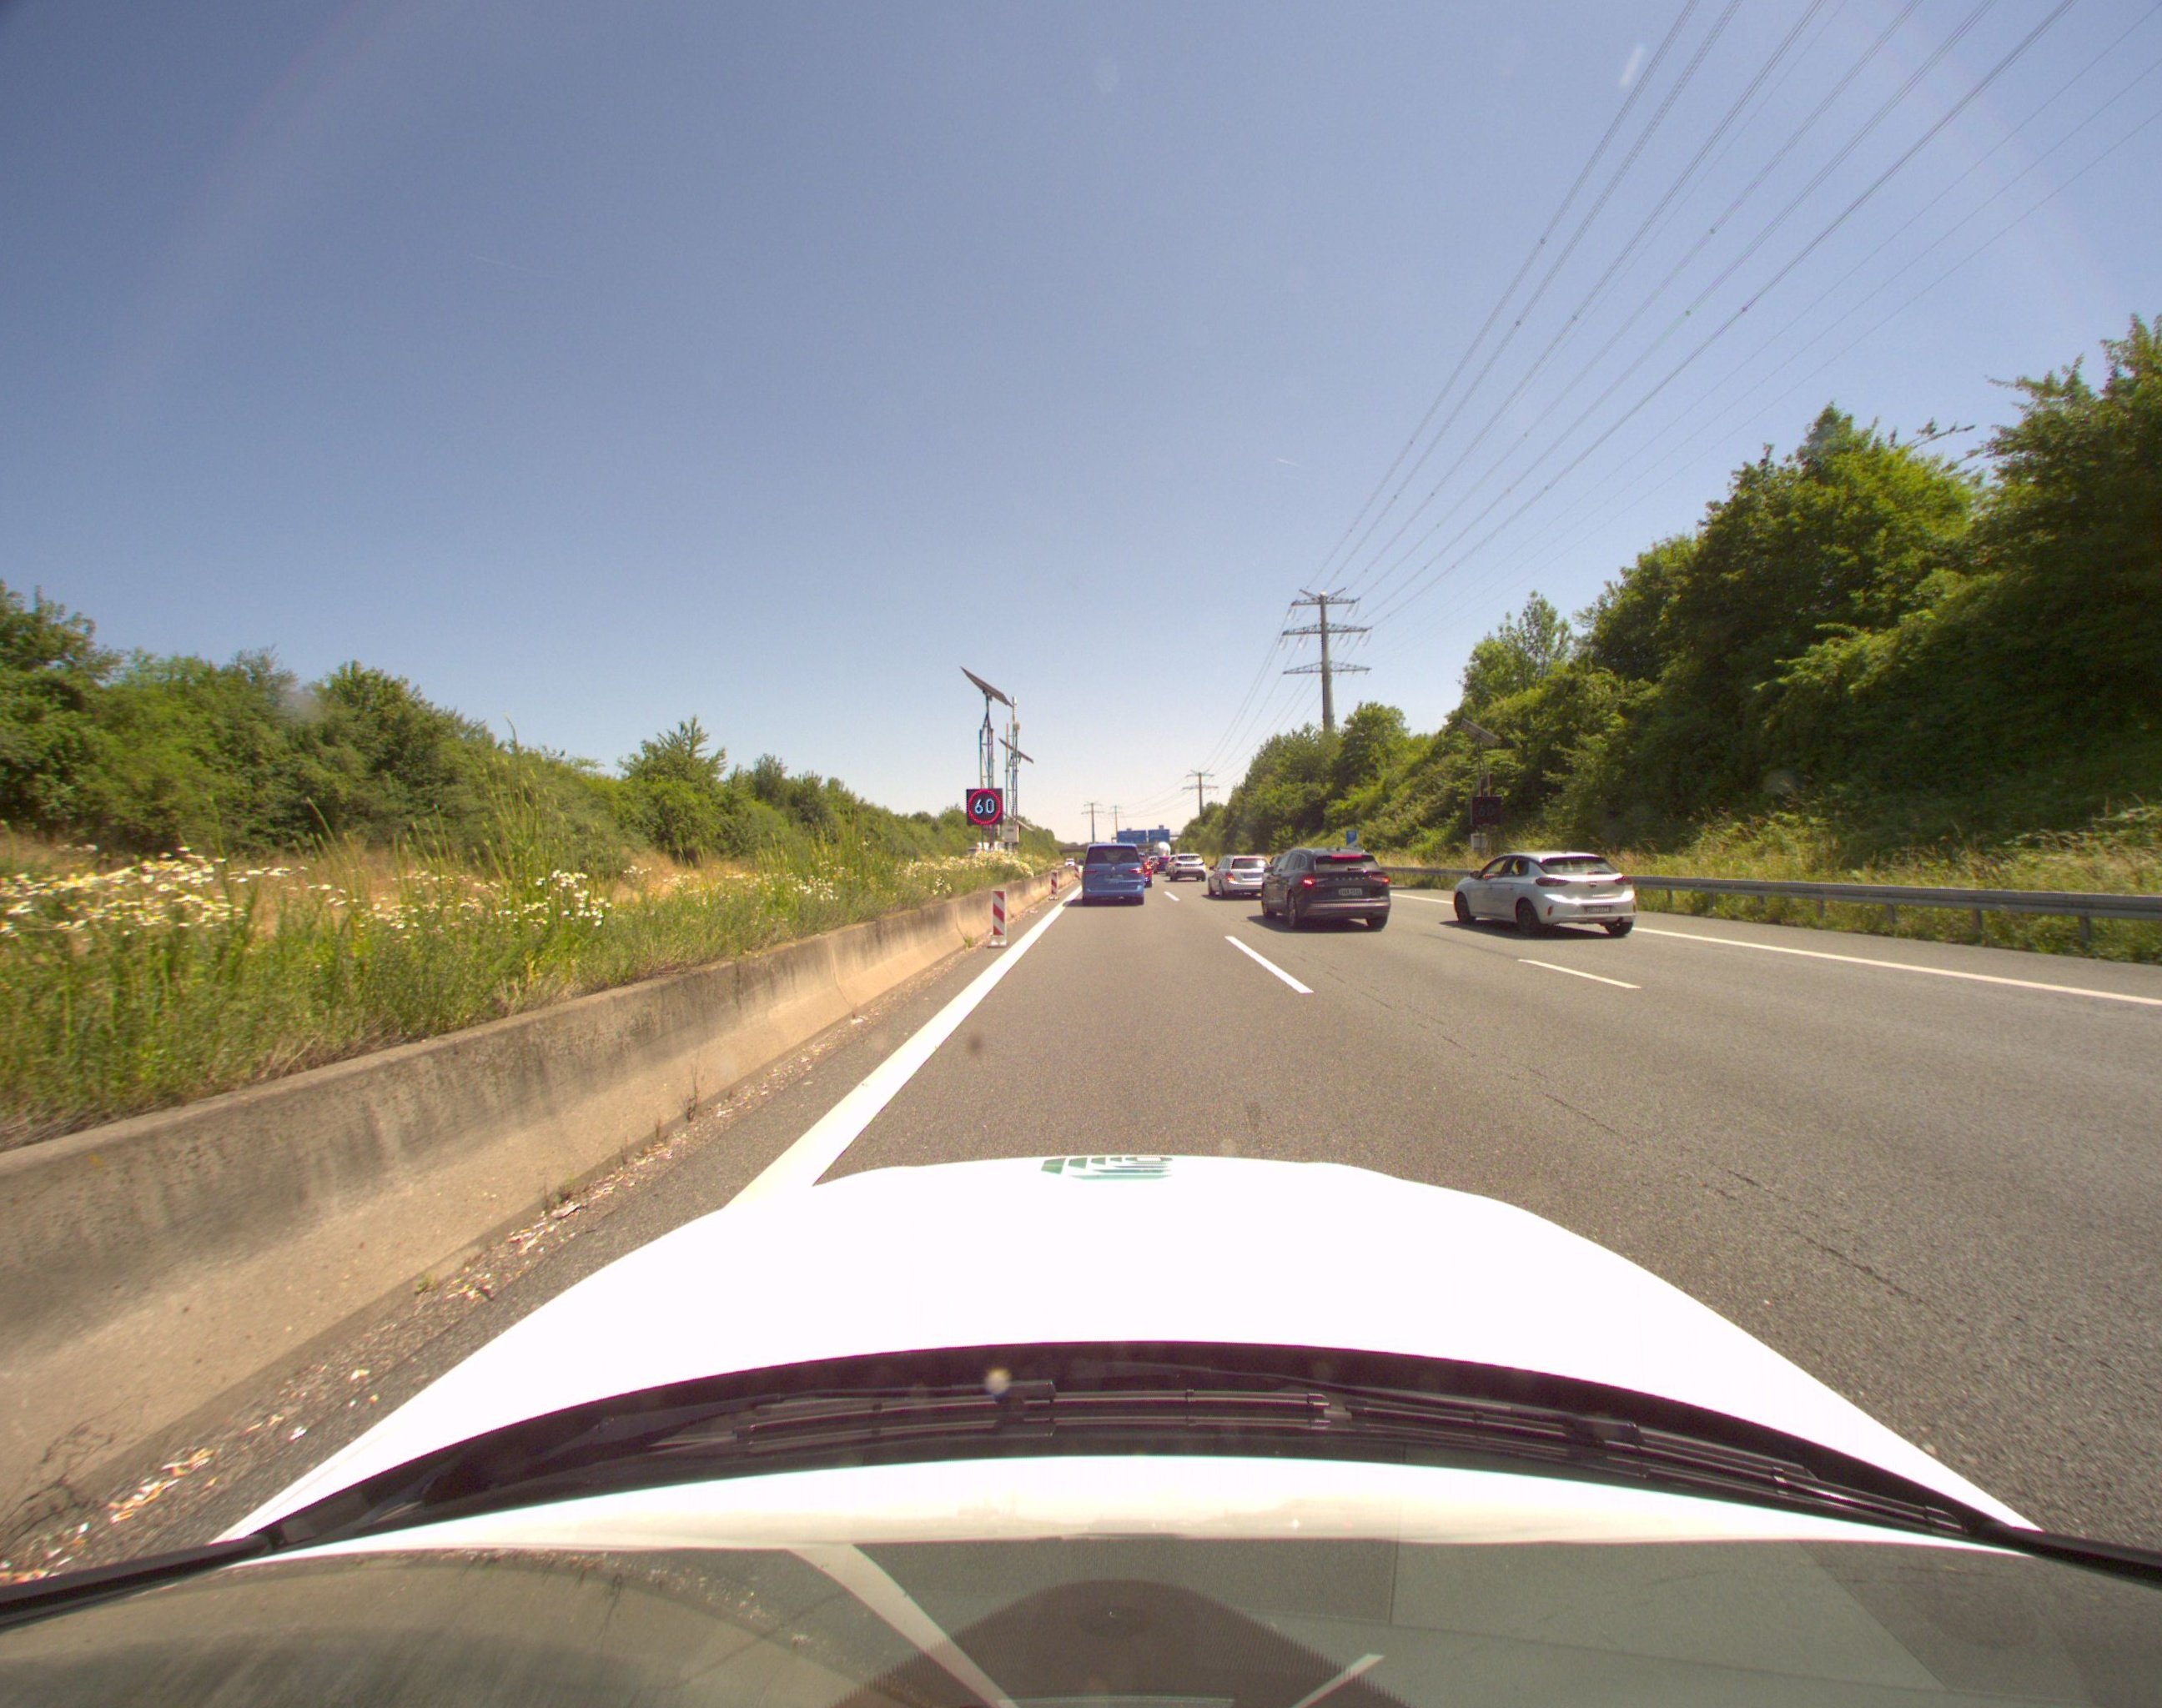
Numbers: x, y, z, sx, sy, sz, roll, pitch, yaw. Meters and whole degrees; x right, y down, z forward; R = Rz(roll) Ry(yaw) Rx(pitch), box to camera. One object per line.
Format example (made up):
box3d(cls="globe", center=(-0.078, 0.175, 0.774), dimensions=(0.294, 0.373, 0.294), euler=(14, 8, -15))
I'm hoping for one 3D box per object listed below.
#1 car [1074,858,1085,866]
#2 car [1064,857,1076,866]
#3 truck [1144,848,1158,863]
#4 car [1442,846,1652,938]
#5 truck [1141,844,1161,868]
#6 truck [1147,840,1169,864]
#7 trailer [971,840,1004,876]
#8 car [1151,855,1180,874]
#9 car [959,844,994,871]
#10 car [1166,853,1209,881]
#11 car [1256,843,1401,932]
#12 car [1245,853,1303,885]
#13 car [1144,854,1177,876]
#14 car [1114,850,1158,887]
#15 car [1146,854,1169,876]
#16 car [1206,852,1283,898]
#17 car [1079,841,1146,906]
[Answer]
box3d(cls="car", center=(-0.249, 1.742, 172.261), dimensions=(1.986, 1.546, 4.915), euler=(-2, 0, 2))
box3d(cls="car", center=(-1.797, 1.252, 132.894), dimensions=(1.577, 1.443, 4.003), euler=(0, 0, 3))
box3d(cls="truck", center=(16.870, 0.364, 197.101), dimensions=(2.635, 3.539, 12.554), euler=(0, 0, 1))
box3d(cls="car", center=(8.419, 0.618, 15.170), dimensions=(1.734, 1.470, 4.016), euler=(-1, 0, 2))
box3d(cls="truck", center=(8.038, 0.260, 93.851), dimensions=(1.986, 2.723, 5.681), euler=(0, 0, 1))
box3d(cls="truck", center=(13.685, -0.290, 145.311), dimensions=(2.635, 4.072, 16.444), euler=(0, 0, 1))
box3d(cls="trailer", center=(-11.304, 0.502, 98.836), dimensions=(2.949, 4.057, 5.436), euler=(-4, 0, 2))
box3d(cls="car", center=(6.792, 0.810, 65.514), dimensions=(1.902, 1.516, 4.383), euler=(0, 0, 0))
box3d(cls="car", center=(-8.764, 0.319, 68.774), dimensions=(1.986, 2.091, 5.232), euler=(-2, 0, 2))
box3d(cls="car", center=(5.967, 0.720, 46.054), dimensions=(1.902, 1.508, 3.921), euler=(0, 0, 0))
box3d(cls="car", center=(5.046, 0.620, 17.277), dimensions=(1.821, 1.614, 4.432), euler=(-1, 0, 1))
box3d(cls="car", center=(8.810, 0.659, 37.565), dimensions=(1.728, 1.378, 4.303), euler=(0, 0, 1))
box3d(cls="car", center=(5.654, 0.767, 58.323), dimensions=(1.902, 1.516, 4.383), euler=(0, 0, 0))
box3d(cls="car", center=(2.562, 0.678, 38.851), dimensions=(1.902, 1.631, 4.384), euler=(-1, 0, 1))
box3d(cls="car", center=(7.247, 1.033, 77.336), dimensions=(1.986, 2.014, 4.002), euler=(0, 0, 2))
box3d(cls="car", center=(5.509, 0.674, 27.961), dimensions=(1.815, 1.437, 4.383), euler=(0, 0, 0))
box3d(cls="car", center=(0.918, 0.574, 26.082), dimensions=(1.866, 1.879, 4.381), euler=(0, 0, -1))
